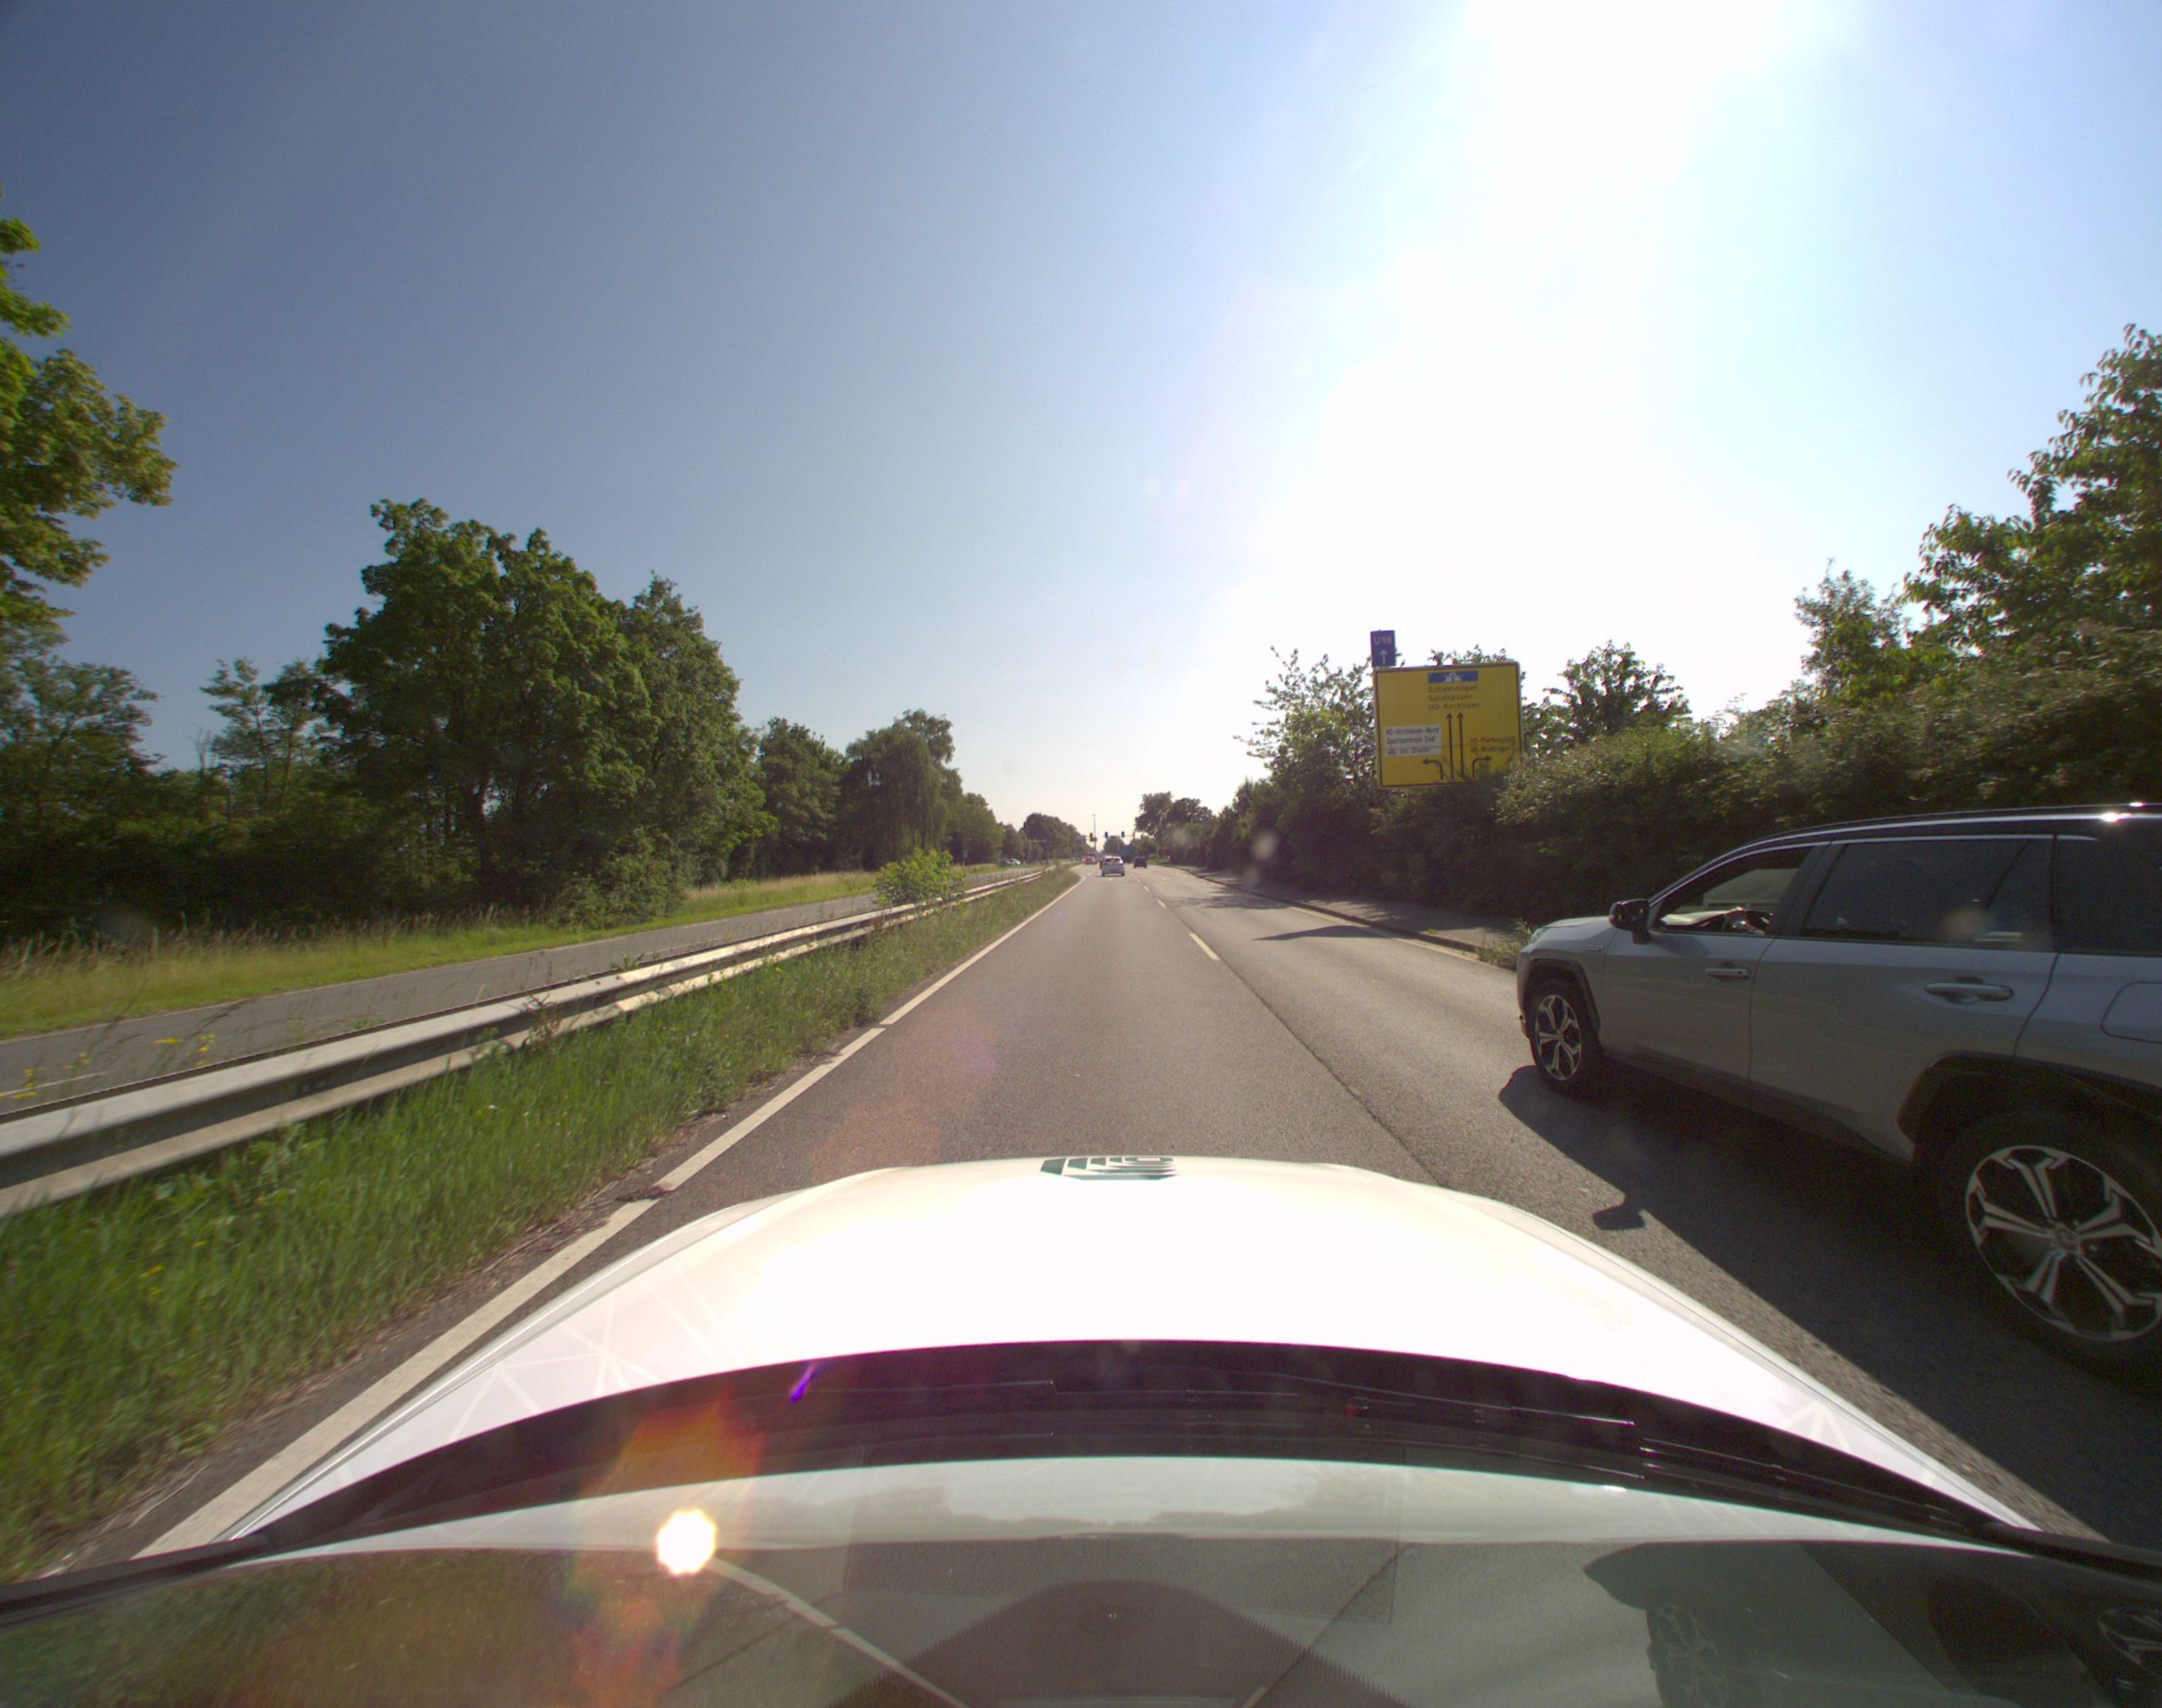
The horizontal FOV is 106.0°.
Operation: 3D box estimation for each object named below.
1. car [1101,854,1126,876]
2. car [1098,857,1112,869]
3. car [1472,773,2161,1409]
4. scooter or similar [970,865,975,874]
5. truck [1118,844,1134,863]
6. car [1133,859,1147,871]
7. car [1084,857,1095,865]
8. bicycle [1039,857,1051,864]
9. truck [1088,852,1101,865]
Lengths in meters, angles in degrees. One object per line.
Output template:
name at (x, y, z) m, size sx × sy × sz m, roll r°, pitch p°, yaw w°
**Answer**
car at (2.438, 0.814, 61.131) m, size 1.791 × 1.553 × 4.003 m, roll -1°, pitch 0°, yaw 2°
car at (2.876, 1.028, 97.059) m, size 1.566 × 1.414 × 3.278 m, roll 0°, pitch -1°, yaw 2°
car at (3.851, 0.625, 3.818) m, size 1.895 × 1.680 × 4.685 m, roll 0°, pitch 0°, yaw 2°
scooter or similar at (-14.863, 2.089, 111.967) m, size 0.366 × 1.186 × 1.341 m, roll -4°, pitch -1°, yaw 2°
truck at (8.825, -0.115, 161.634) m, size 2.881 × 3.428 × 9.173 m, roll -2°, pitch 0°, yaw 2°
car at (7.381, 1.389, 102.008) m, size 1.566 × 1.414 × 3.279 m, roll -1°, pitch -1°, yaw 2°
car at (1.702, 1.388, 156.717) m, size 1.805 × 1.464 × 4.974 m, roll 0°, pitch -1°, yaw 3°
bicycle at (-9.184, 1.589, 208.369) m, size 2.765 × 1.670 × 1.143 m, roll -3°, pitch 0°, yaw 29°
truck at (2.732, 0.880, 164.111) m, size 2.364 × 2.389 × 6.045 m, roll 0°, pitch 0°, yaw 3°
